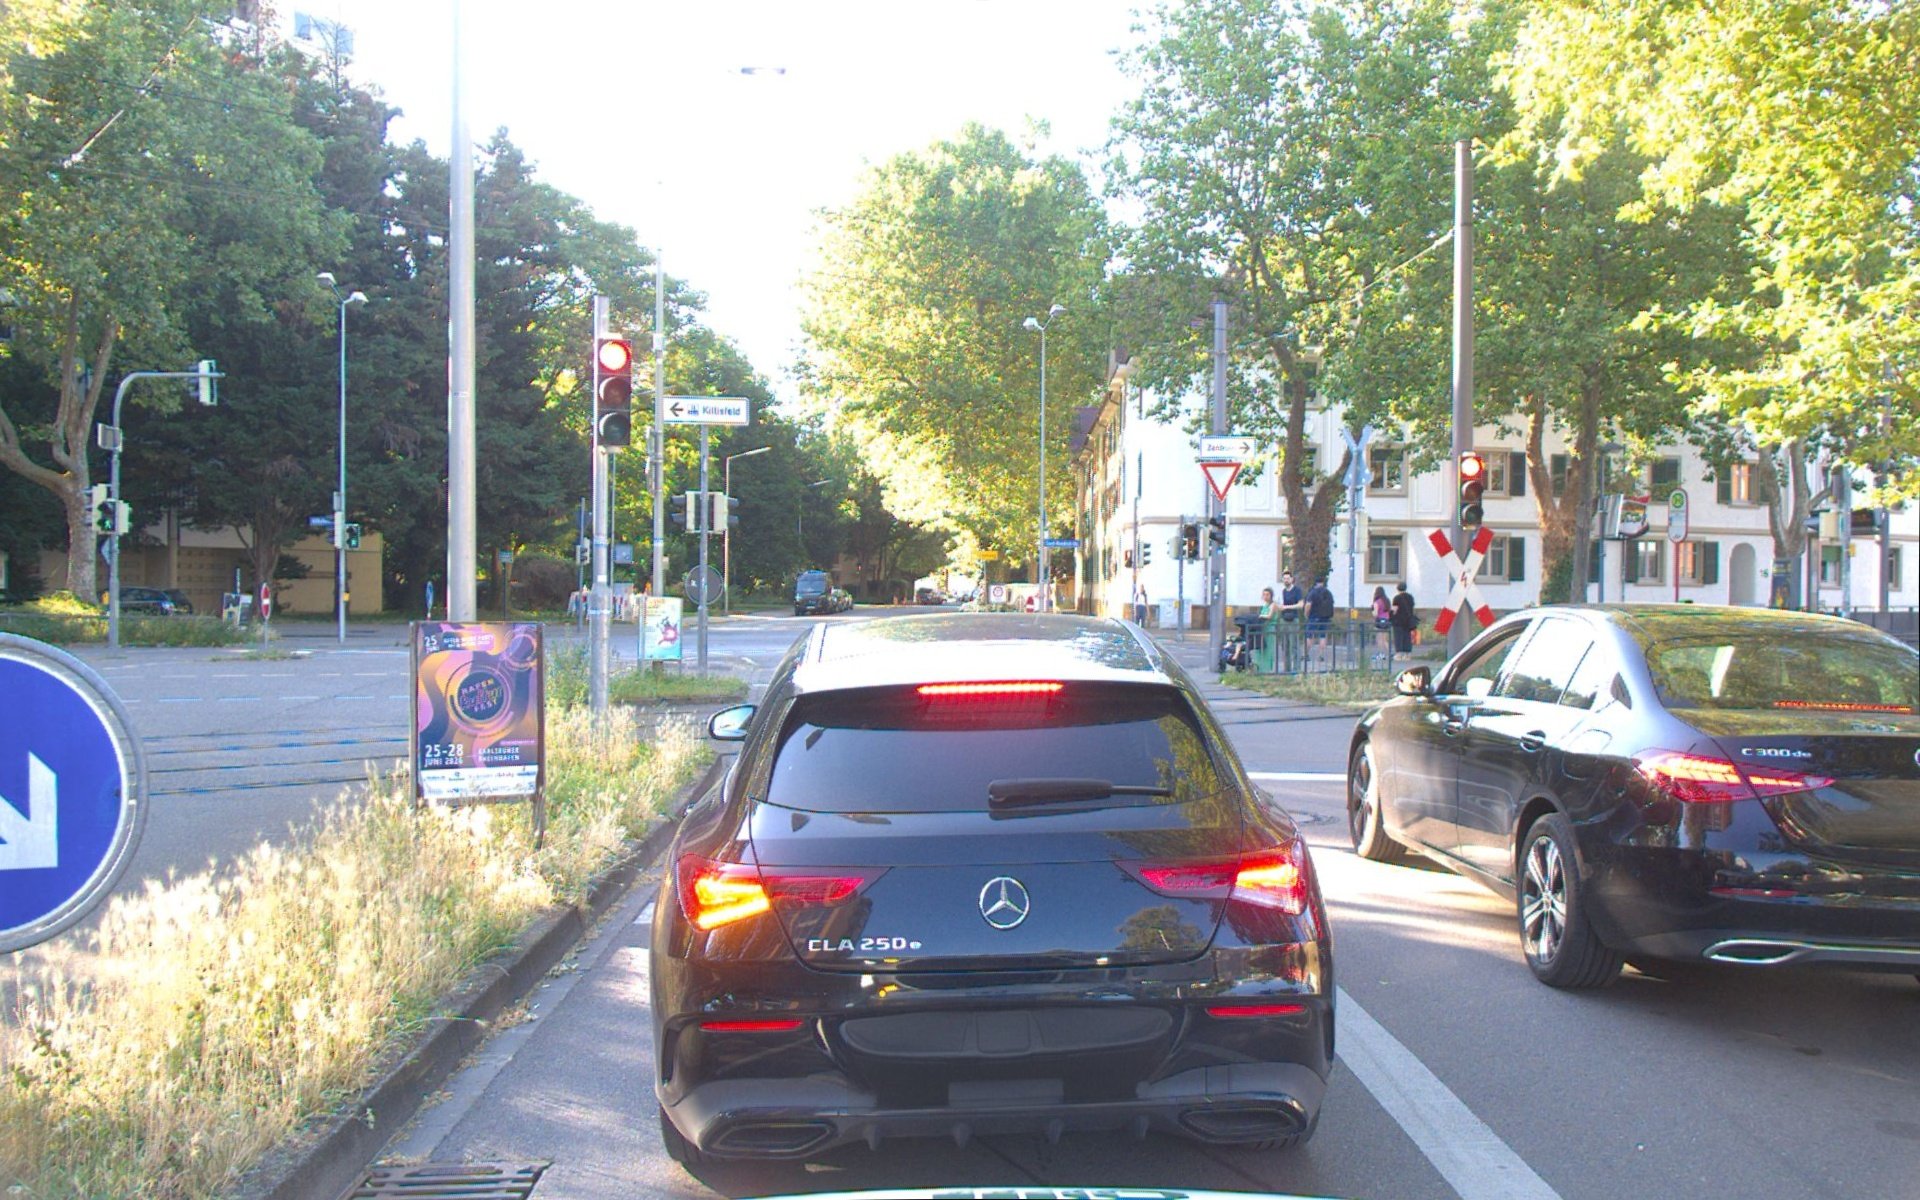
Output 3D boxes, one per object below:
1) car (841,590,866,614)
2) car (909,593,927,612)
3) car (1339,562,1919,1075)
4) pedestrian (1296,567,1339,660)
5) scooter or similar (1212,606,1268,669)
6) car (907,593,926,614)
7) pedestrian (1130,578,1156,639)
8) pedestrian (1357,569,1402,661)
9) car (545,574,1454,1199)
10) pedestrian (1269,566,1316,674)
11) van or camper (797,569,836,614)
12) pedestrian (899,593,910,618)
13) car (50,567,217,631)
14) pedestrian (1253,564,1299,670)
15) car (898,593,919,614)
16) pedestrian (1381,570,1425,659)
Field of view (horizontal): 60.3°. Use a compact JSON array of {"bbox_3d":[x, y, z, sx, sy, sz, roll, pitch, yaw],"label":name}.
[{"bbox_3d":[-8.128,0.148,126.271,1.698,1.796,3.970,1,0,-1],"label":"car"},{"bbox_3d":[-3.997,0.211,158.396,1.698,1.796,4.018,1,0,-1],"label":"car"},{"bbox_3d":[3.137,0.644,7.333,1.851,1.516,4.382,1,2,0],"label":"car"},{"bbox_3d":[7.666,0.289,35.488,0.691,1.951,0.838,1,-1,-4],"label":"pedestrian"},{"bbox_3d":[5.161,0.683,30.502,0.812,1.124,0.808,1,0,-6],"label":"scooter or similar"},{"bbox_3d":[-3.949,0.322,150.313,1.698,1.796,4.018,1,0,-1],"label":"car"},{"bbox_3d":[5.989,0.275,54.151,0.691,1.951,0.838,1,-1,-4],"label":"pedestrian"},{"bbox_3d":[9.072,0.330,35.797,0.691,1.951,0.838,1,-1,-4],"label":"pedestrian"},{"bbox_3d":[0.096,0.719,5.411,1.851,1.475,4.001,1,2,0],"label":"car"},{"bbox_3d":[6.073,0.361,30.200,0.669,1.951,0.707,1,-1,-3],"label":"pedestrian"},{"bbox_3d":[-8.598,-0.480,99.609,1.953,2.586,4.650,1,0,-1],"label":"van or camper"},{"bbox_3d":[-4.359,0.458,129.948,0.692,1.951,0.837,1,-1,-11],"label":"pedestrian"},{"bbox_3d":[-24.372,-0.026,48.844,3.902,1.805,2.001,1,0,7],"label":"car"},{"bbox_3d":[5.916,0.308,30.970,0.669,1.951,0.706,1,-1,-5],"label":"pedestrian"},{"bbox_3d":[-4.523,0.353,145.483,1.698,1.796,4.018,1,0,-1],"label":"car"},{"bbox_3d":[9.863,0.318,36.809,0.691,1.951,0.838,1,-1,-4],"label":"pedestrian"}]
